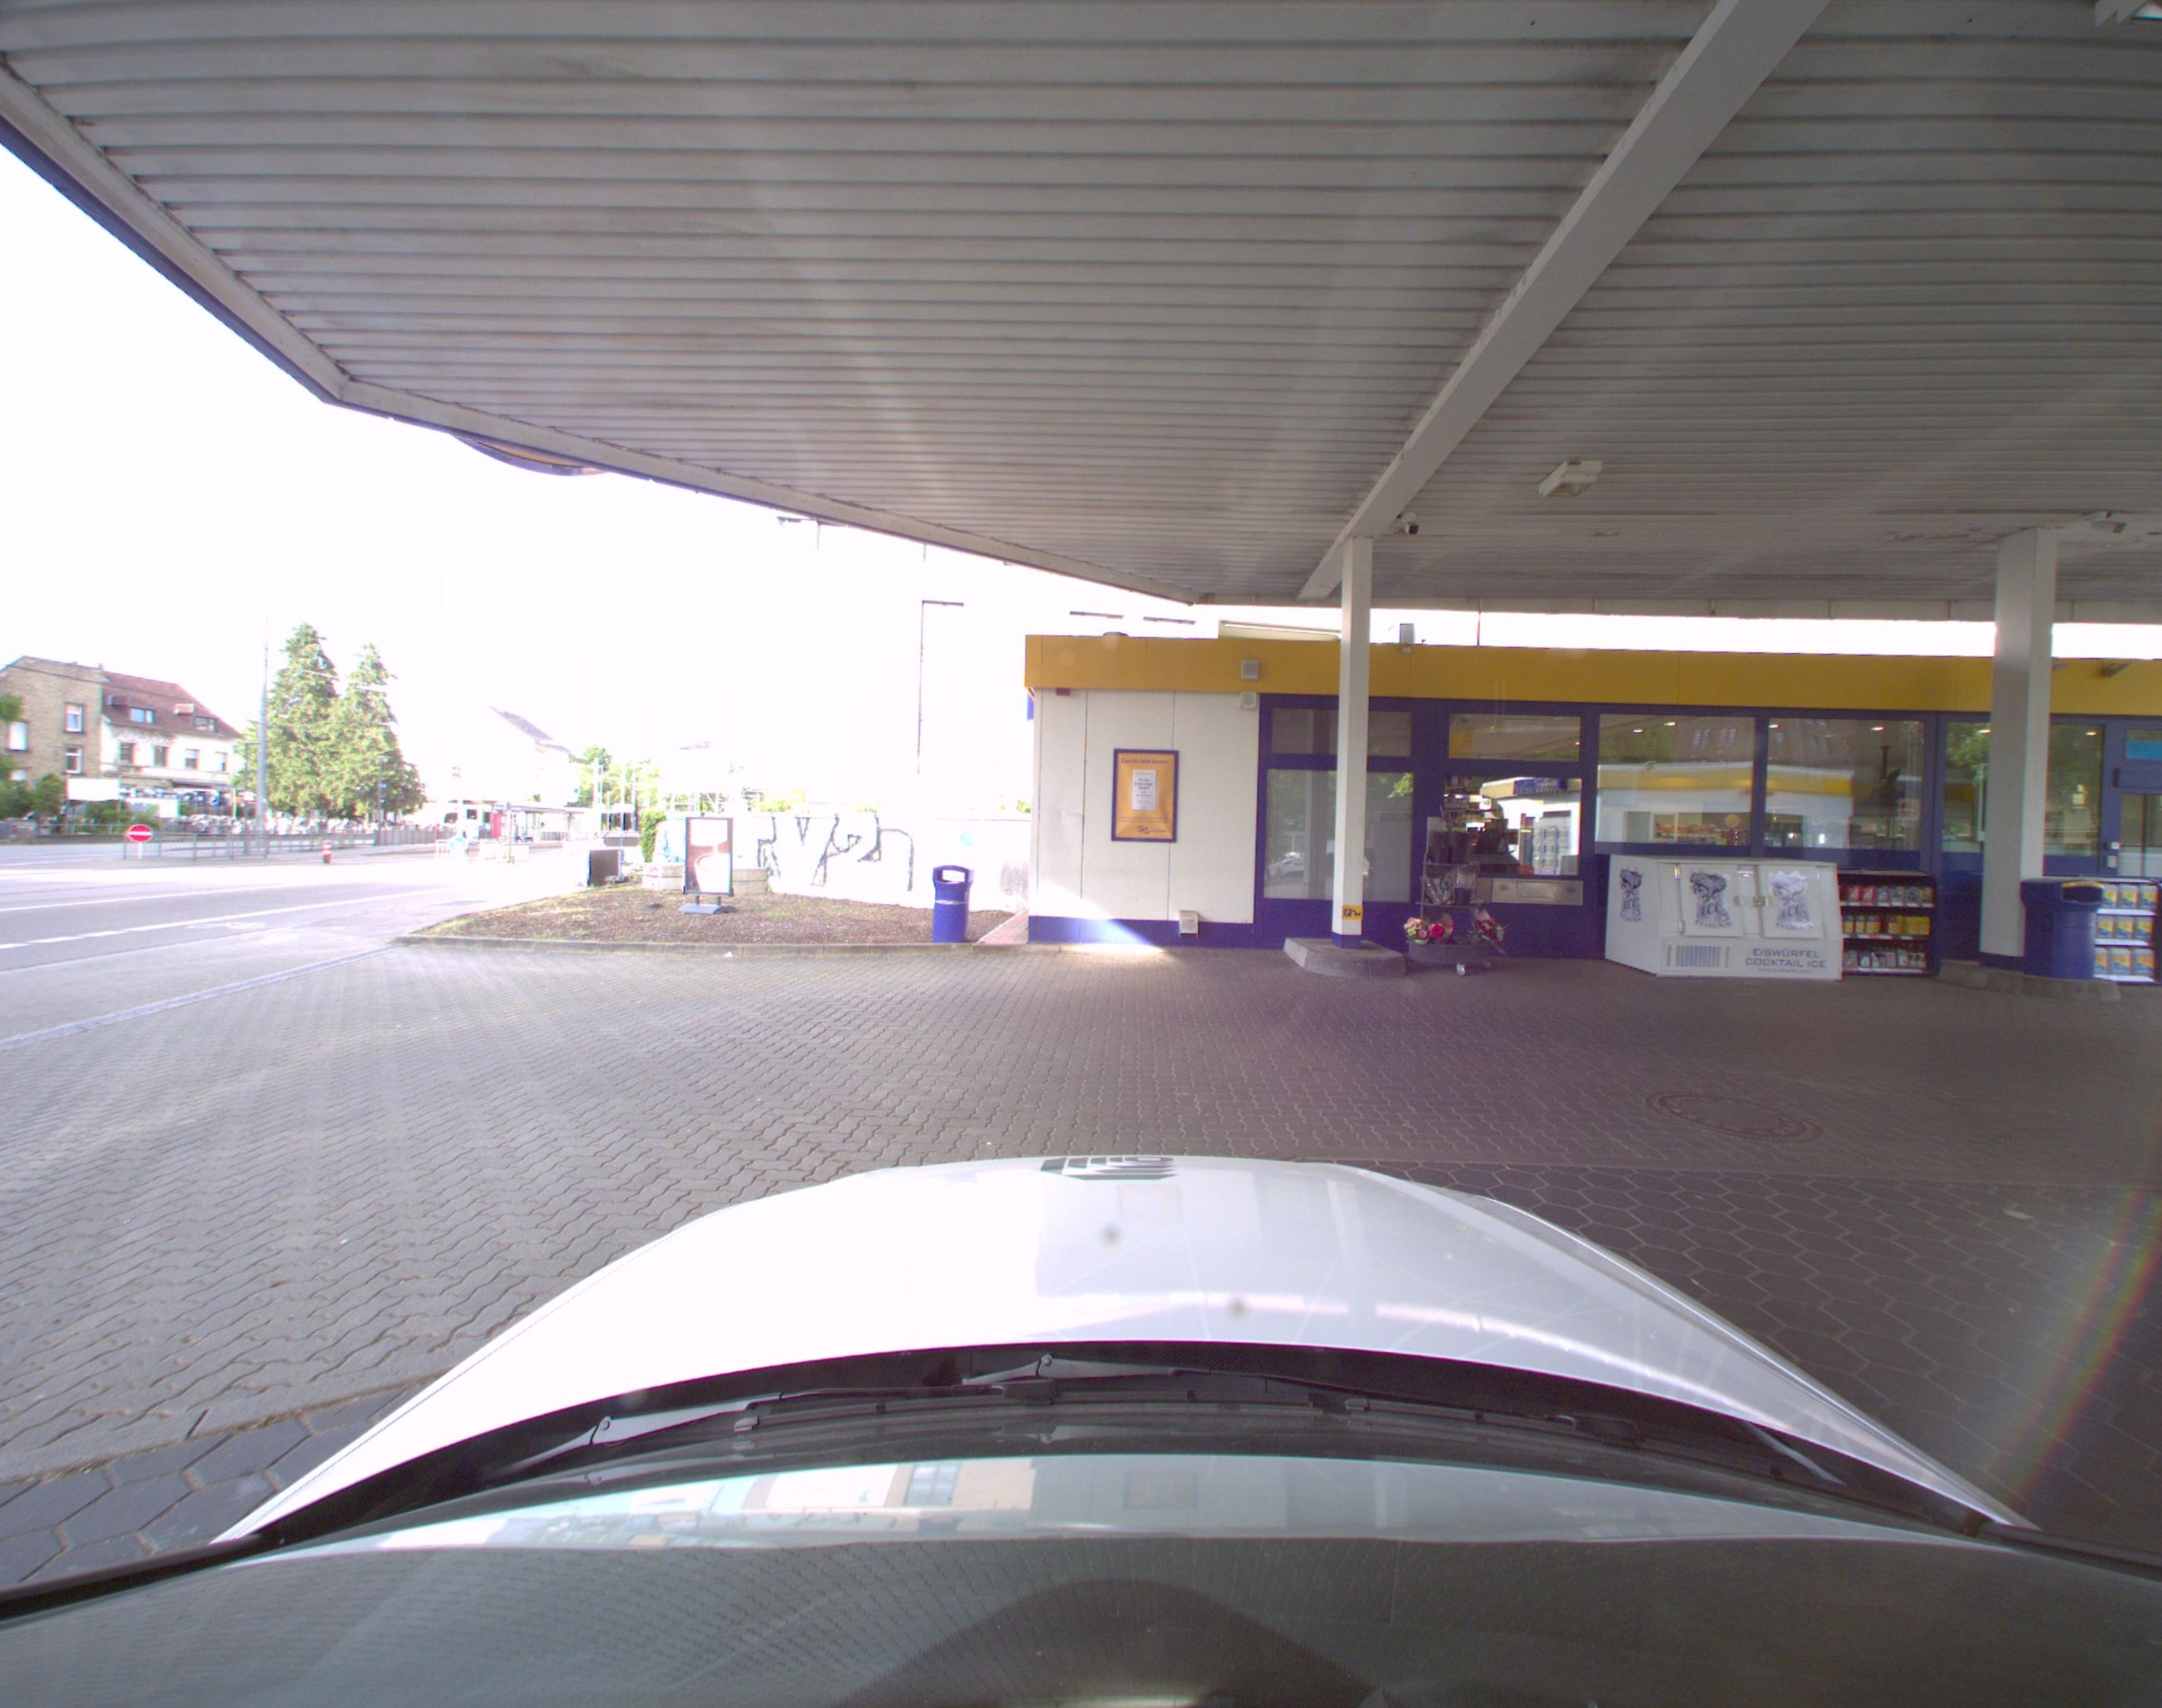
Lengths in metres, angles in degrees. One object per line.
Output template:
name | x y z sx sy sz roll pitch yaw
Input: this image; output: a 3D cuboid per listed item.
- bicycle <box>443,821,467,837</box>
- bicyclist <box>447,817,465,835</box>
bicycle | -49.440 -1.954 64.347 0.751 1.203 1.812 5 0 -15
bicyclist | -49.420 -2.208 64.386 0.751 1.409 0.916 5 0 -17
